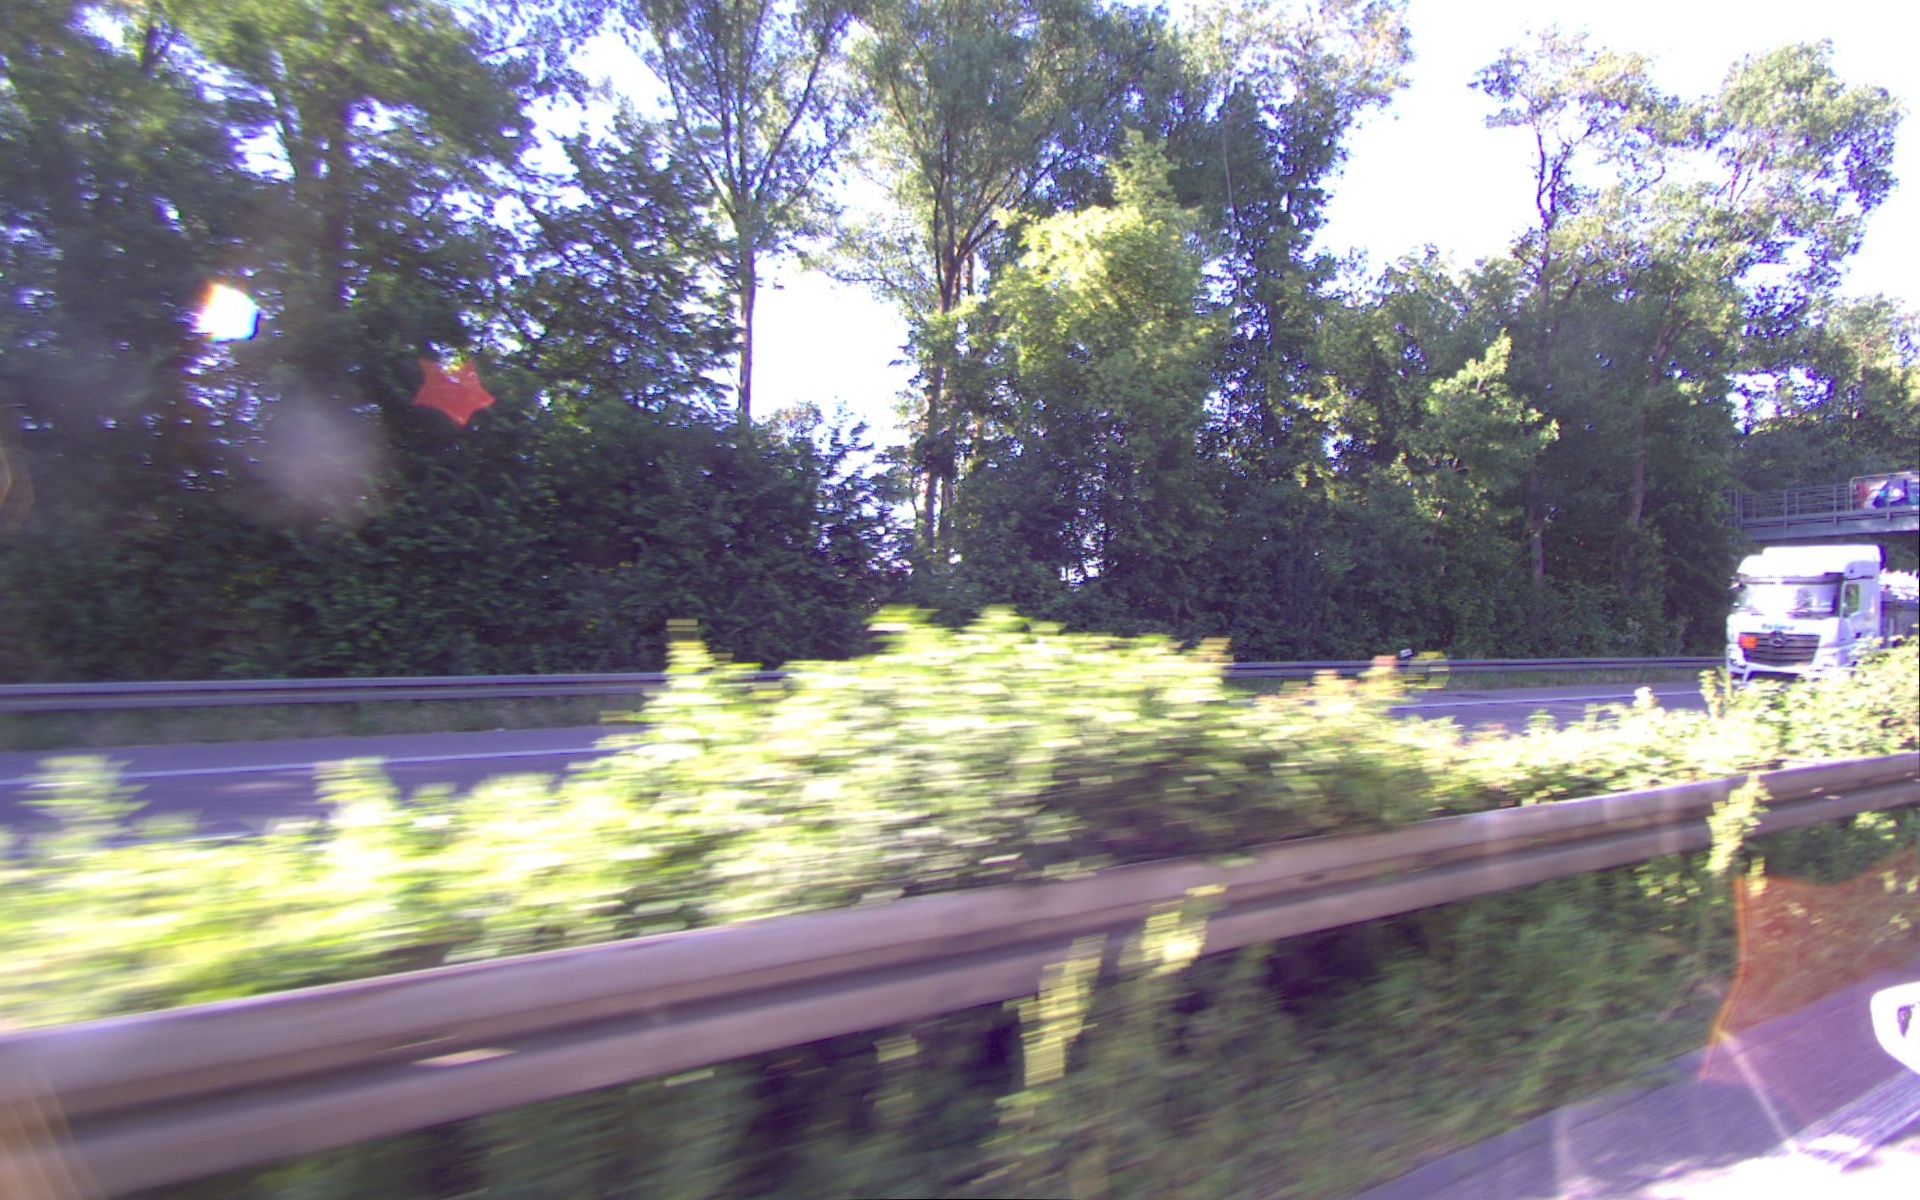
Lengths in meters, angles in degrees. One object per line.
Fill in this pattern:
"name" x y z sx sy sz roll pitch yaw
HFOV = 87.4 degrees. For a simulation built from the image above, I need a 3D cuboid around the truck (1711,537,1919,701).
"truck" 25.729 0.625 28.590 11.333 4.008 2.756 2 0 -30
